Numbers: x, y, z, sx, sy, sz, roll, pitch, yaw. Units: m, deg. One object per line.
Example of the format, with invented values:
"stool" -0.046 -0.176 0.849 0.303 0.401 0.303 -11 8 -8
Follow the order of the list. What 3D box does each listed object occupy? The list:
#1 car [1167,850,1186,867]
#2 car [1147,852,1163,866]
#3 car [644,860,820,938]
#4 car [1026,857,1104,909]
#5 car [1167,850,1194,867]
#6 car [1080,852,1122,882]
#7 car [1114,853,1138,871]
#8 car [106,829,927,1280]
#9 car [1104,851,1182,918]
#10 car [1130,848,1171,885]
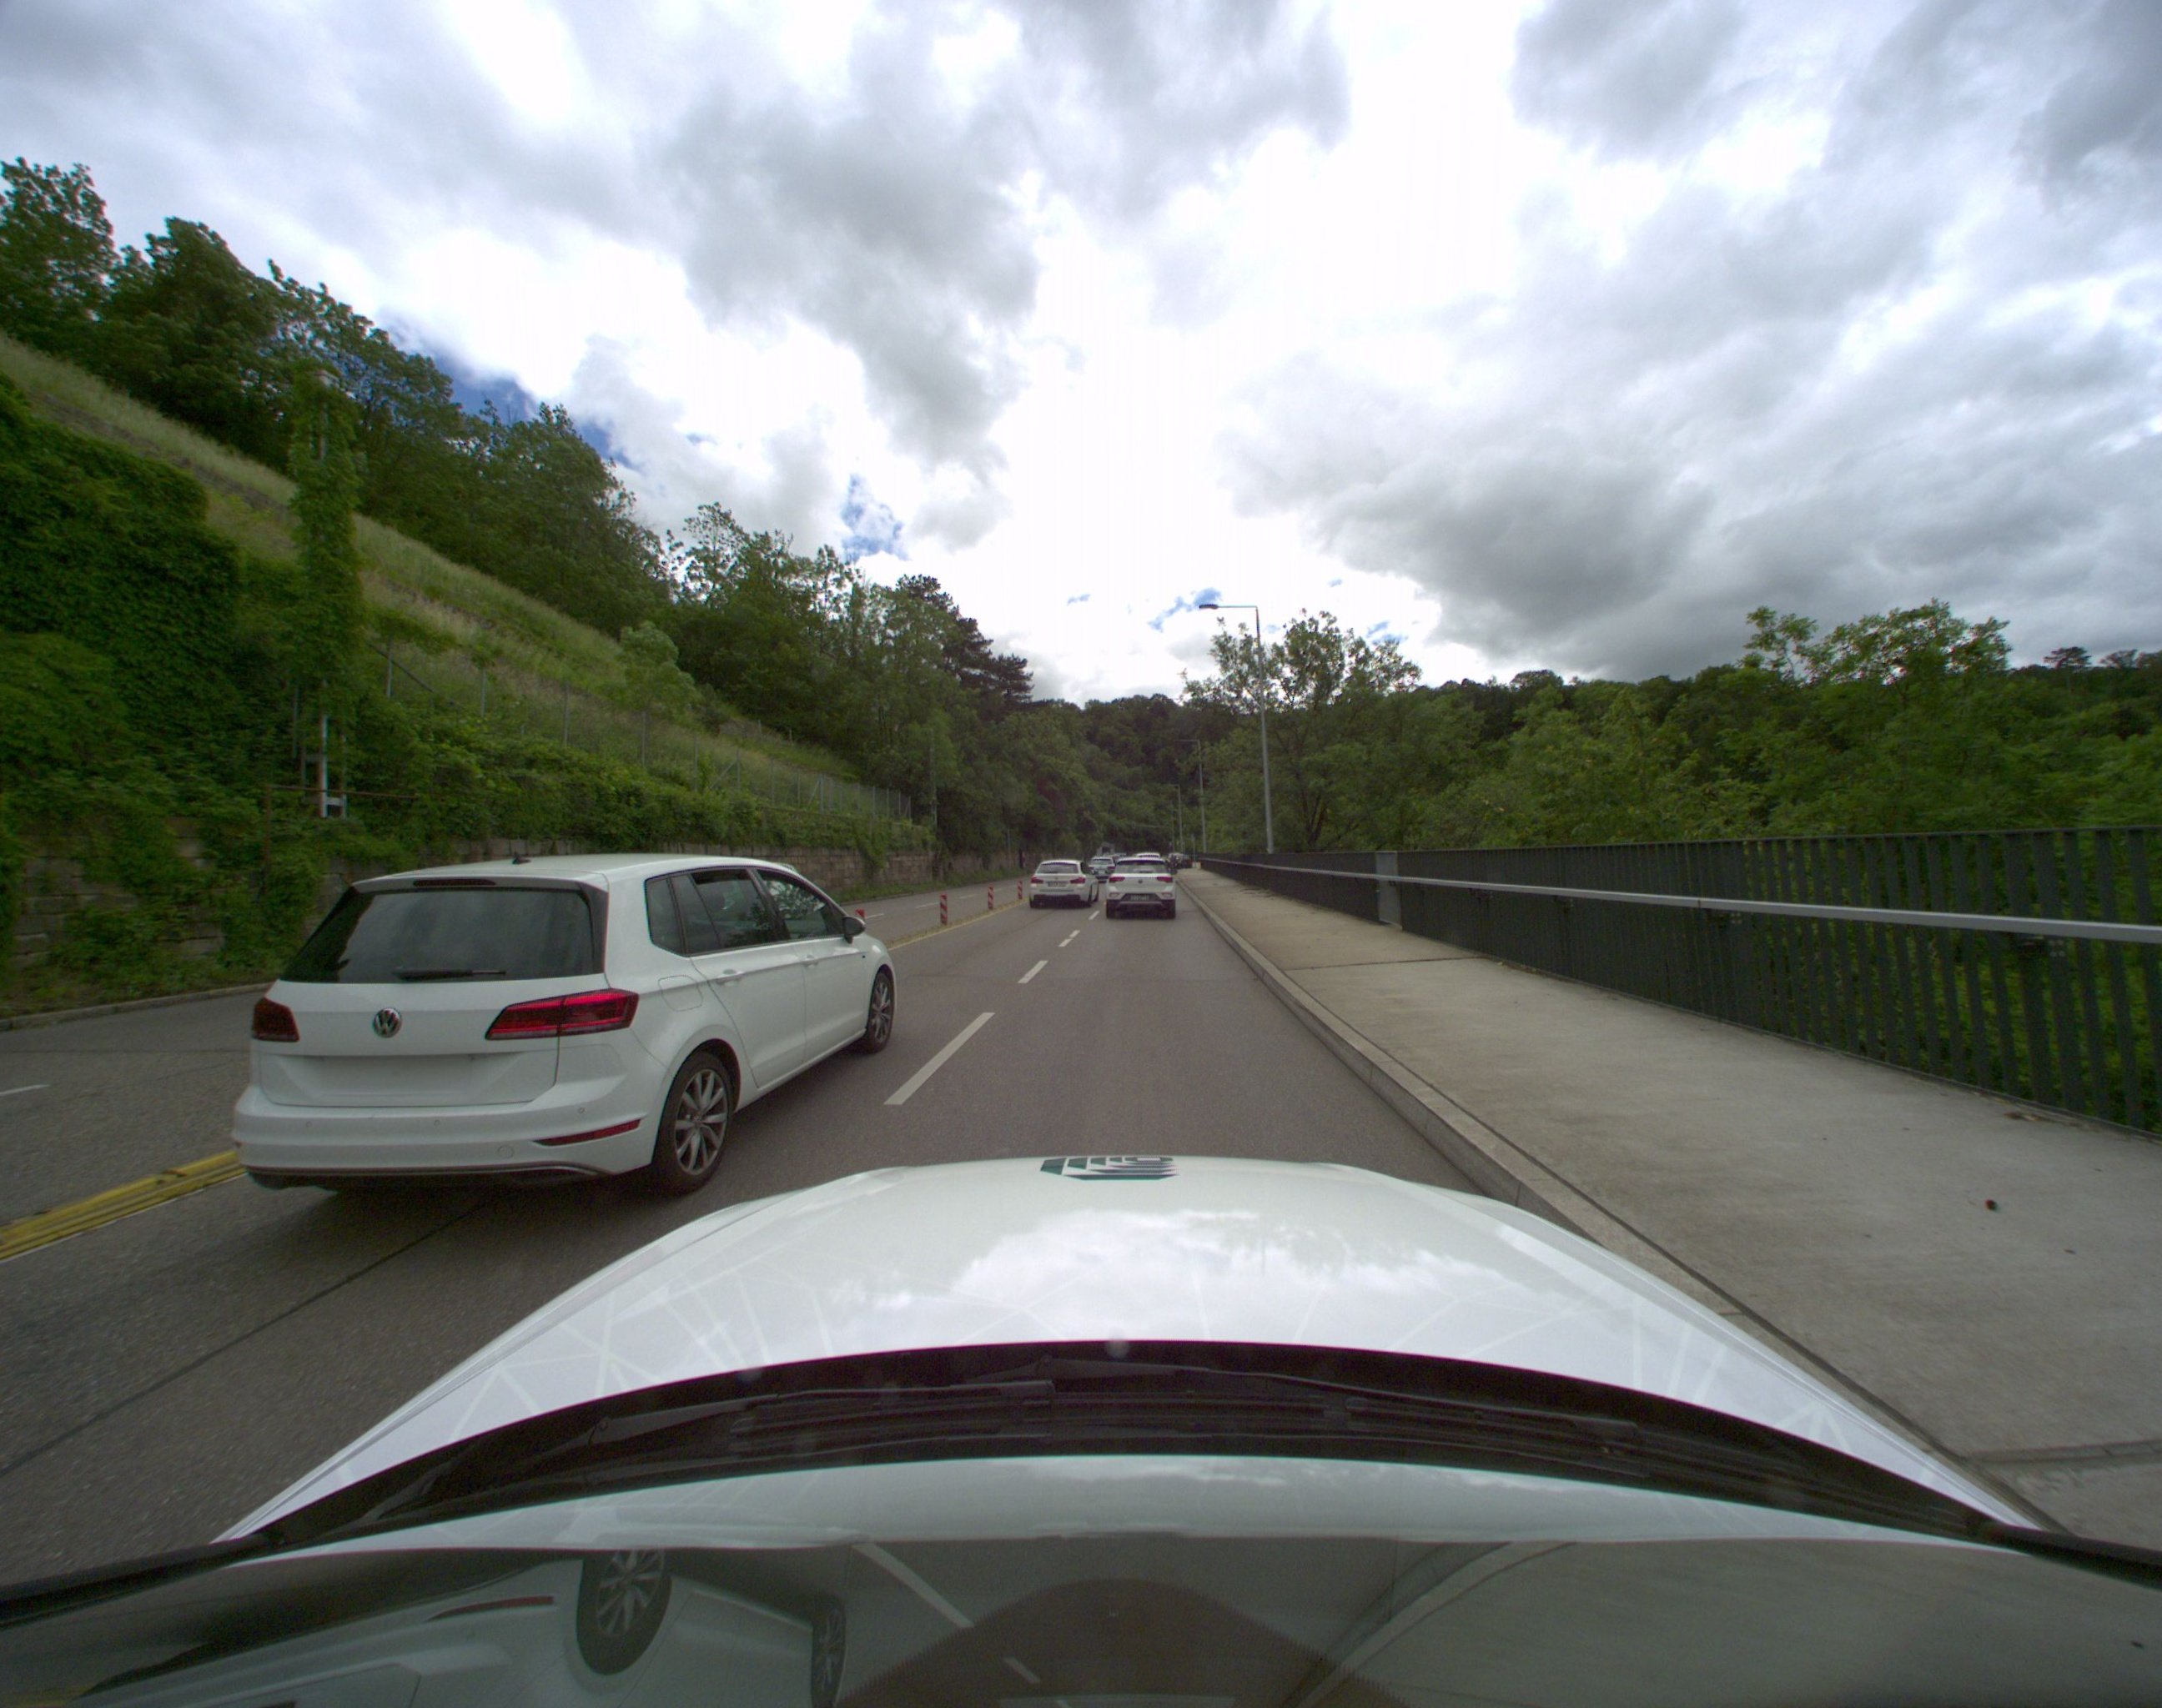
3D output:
"car" 10.534 0.463 90.427 1.984 1.718 4.120 -1 1 5
"car" 9.717 0.668 107.833 1.985 1.860 4.003 0 -1 3
"car" -7.820 0.932 18.771 1.842 1.515 4.340 -2 0 5
"car" -0.410 0.854 25.903 1.818 1.459 4.495 -1 0 7
"car" 8.863 0.395 72.582 1.809 1.508 3.998 -1 0 -1
"car" 1.208 0.725 47.203 1.983 1.503 4.677 -2 1 7
"car" 4.252 0.699 76.266 1.983 1.503 4.677 -2 1 7
"car" -2.487 0.740 5.111 1.812 1.580 4.362 -1 -1 5
"car" 1.750 0.747 21.832 1.818 1.606 4.009 0 0 8
"car" 3.617 0.601 42.279 1.984 1.718 4.120 -1 1 5
